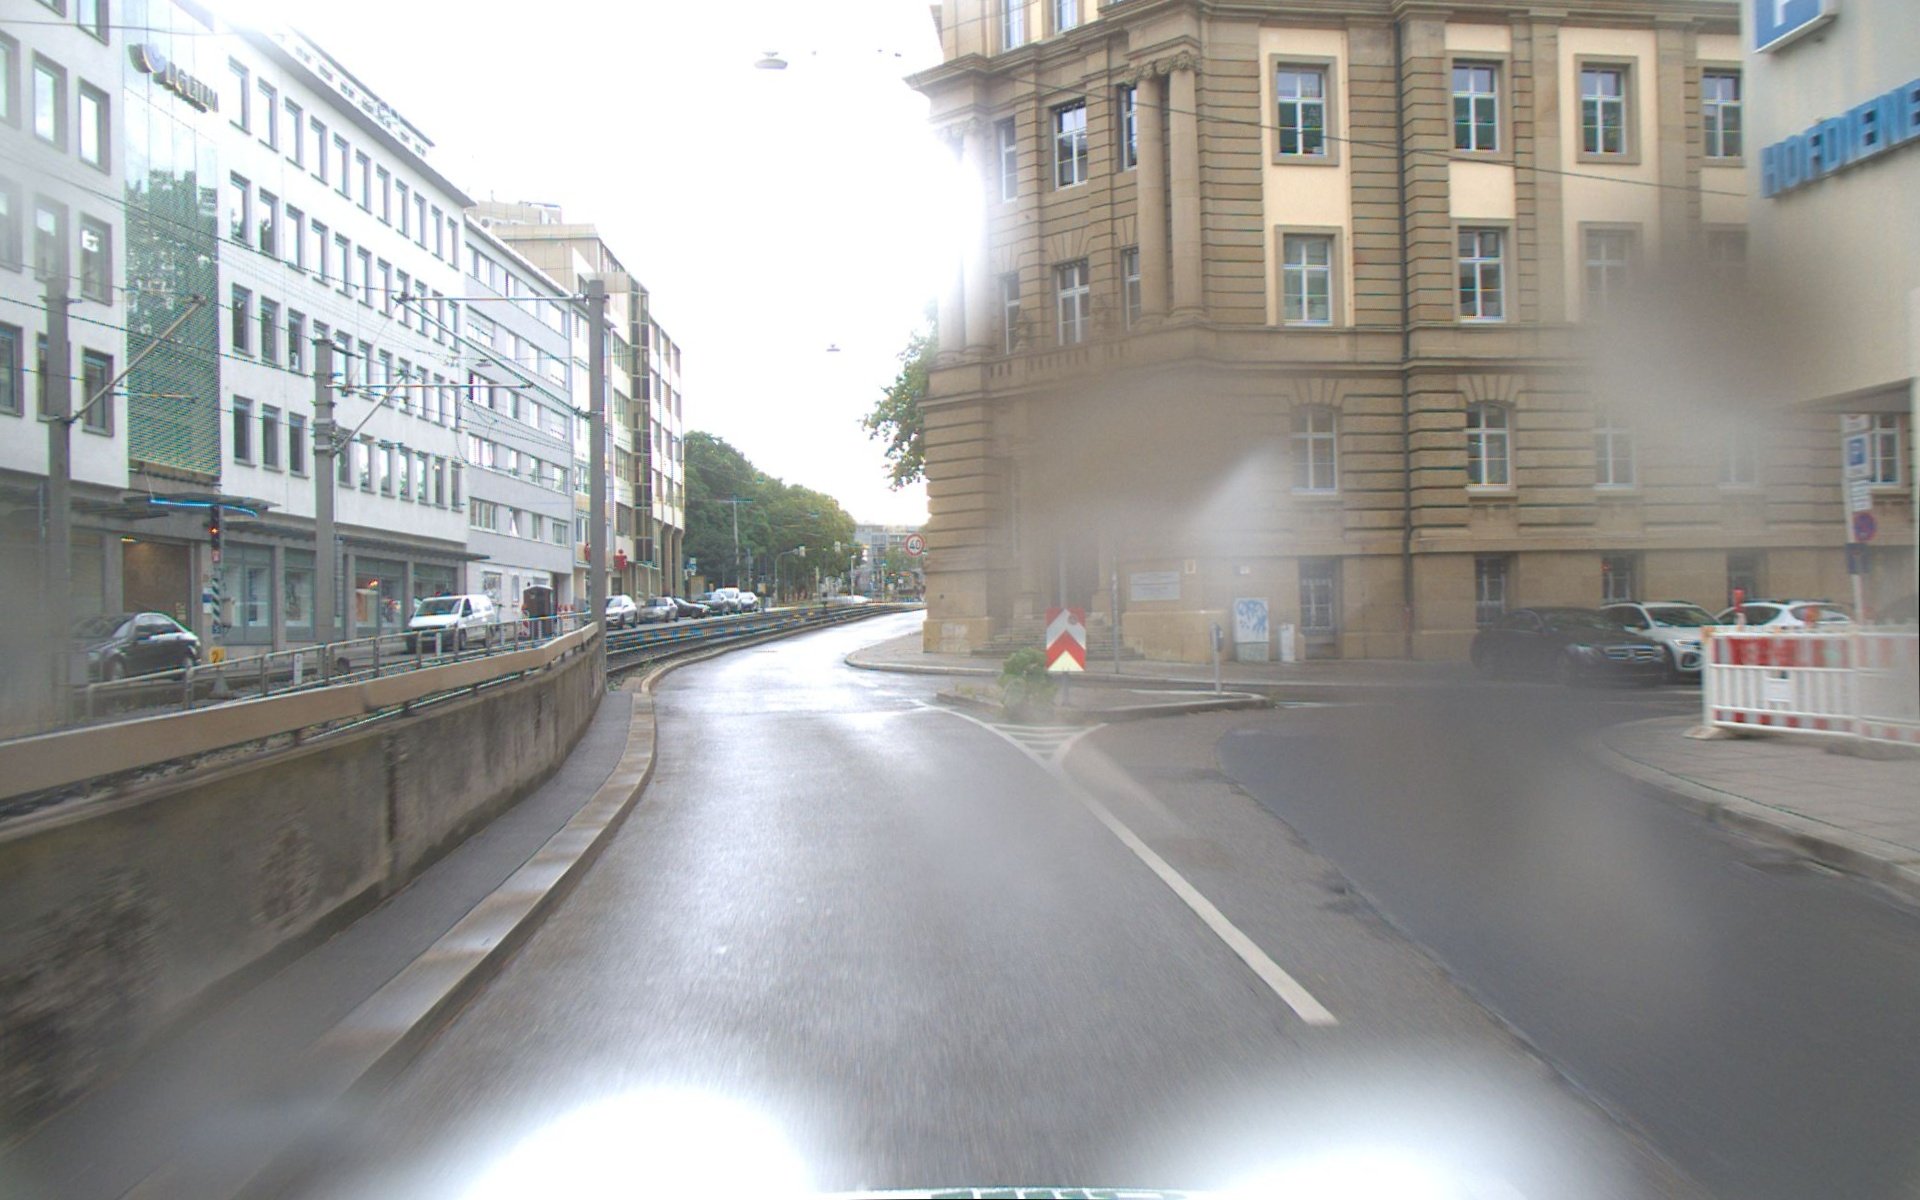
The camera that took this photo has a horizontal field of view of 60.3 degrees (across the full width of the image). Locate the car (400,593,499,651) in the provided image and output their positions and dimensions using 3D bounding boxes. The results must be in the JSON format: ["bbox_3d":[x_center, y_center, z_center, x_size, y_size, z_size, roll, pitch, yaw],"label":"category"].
[{"bbox_3d":[-17.888,0.737,58.166,1.953,1.916,4.926,0,0,0],"label":"car"}]

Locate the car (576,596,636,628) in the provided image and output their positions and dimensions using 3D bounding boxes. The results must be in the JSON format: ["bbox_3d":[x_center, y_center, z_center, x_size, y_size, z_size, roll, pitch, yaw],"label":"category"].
[{"bbox_3d":[-17.234,0.570,80.697,1.953,1.482,4.311,0,0,0],"label":"car"}]

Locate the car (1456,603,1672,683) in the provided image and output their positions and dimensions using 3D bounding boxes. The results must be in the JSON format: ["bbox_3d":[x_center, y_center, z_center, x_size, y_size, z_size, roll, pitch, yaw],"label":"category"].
[{"bbox_3d":[11.349,0.755,31.494,1.702,1.391,4.992,0,0,-8],"label":"car"}]

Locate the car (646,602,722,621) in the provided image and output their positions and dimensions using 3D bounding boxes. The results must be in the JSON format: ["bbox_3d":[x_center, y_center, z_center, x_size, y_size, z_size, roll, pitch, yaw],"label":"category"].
[{"bbox_3d":[-17.107,0.716,102.432,4.208,1.184,2.000,0,0,20],"label":"car"}]

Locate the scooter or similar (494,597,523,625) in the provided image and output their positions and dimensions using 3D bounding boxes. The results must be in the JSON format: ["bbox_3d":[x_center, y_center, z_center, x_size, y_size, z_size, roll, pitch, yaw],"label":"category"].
[{"bbox_3d":[-20.678,0.495,75.760,0.749,1.241,2.065,0,0,0],"label":"scooter or similar"}]

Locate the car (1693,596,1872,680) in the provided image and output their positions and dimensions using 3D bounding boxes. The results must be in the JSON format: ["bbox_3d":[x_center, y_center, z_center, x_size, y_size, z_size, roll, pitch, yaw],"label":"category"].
[{"bbox_3d":[16.189,0.708,32.740,1.647,1.544,3.574,0,0,-3],"label":"car"}]

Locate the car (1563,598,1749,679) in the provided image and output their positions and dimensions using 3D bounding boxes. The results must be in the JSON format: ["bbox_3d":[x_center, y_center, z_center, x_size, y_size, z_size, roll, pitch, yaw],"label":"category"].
[{"bbox_3d":[13.676,0.713,32.773,1.699,1.480,4.328,0,0,-3],"label":"car"}]

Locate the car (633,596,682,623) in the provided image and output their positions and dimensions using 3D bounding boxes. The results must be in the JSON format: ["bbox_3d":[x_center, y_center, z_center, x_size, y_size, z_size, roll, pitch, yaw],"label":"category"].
[{"bbox_3d":[-16.977,0.536,93.054,1.953,1.482,4.311,0,0,0],"label":"car"}]

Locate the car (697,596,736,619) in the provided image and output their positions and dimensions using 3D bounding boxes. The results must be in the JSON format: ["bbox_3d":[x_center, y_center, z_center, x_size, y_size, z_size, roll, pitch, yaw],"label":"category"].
[{"bbox_3d":[-16.115,0.507,109.824,1.953,1.482,4.311,0,0,0],"label":"car"}]

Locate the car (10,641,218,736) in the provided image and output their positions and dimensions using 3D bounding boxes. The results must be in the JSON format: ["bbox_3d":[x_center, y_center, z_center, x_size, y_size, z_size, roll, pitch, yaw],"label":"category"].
[{"bbox_3d":[-15.533,1.580,30.597,1.953,1.554,3.662,0,0,0],"label":"car"}]

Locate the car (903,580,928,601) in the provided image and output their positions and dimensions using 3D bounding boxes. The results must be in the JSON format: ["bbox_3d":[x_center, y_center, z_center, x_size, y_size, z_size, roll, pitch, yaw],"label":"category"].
[{"bbox_3d":[-3.653,-0.808,136.394,1.953,1.691,4.000,0,0,0],"label":"car"}]
